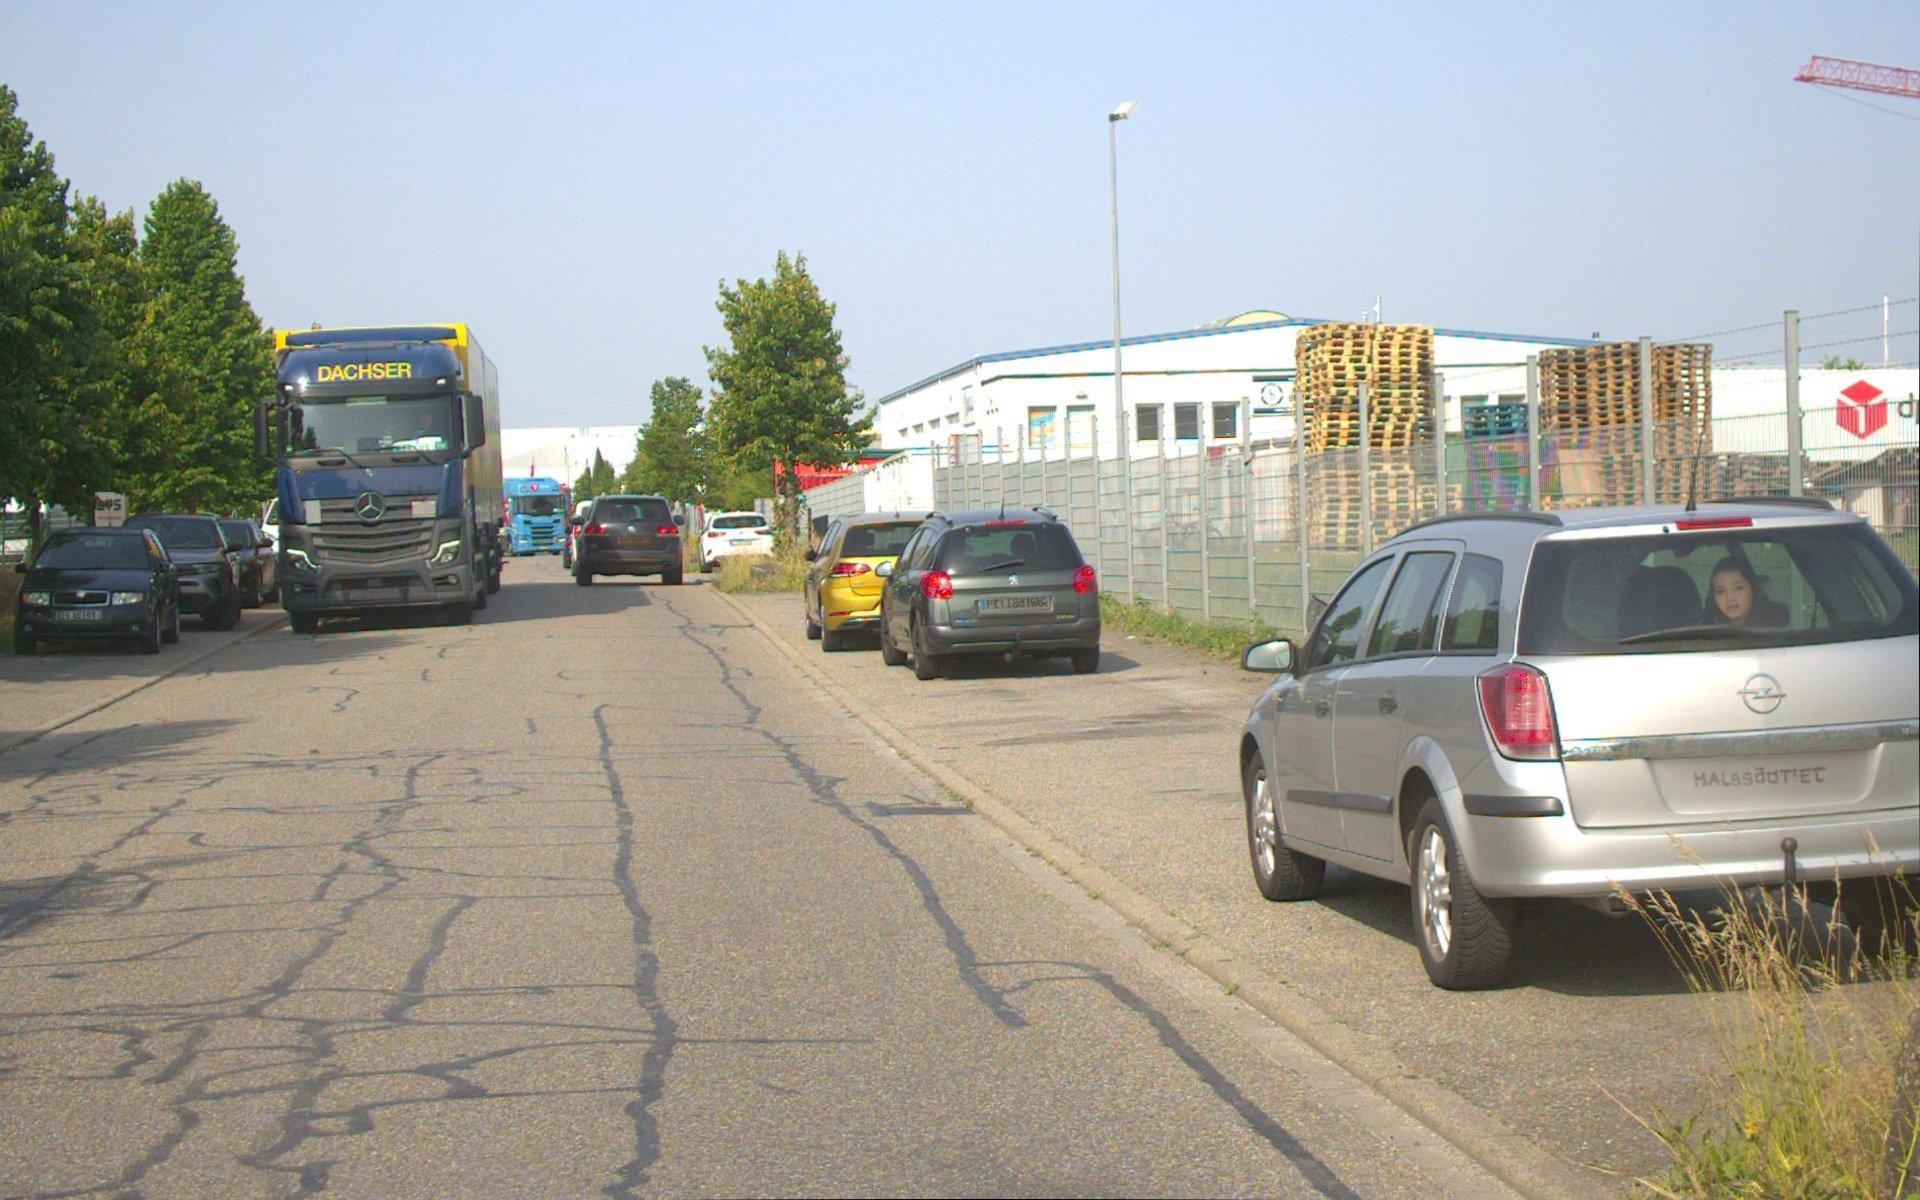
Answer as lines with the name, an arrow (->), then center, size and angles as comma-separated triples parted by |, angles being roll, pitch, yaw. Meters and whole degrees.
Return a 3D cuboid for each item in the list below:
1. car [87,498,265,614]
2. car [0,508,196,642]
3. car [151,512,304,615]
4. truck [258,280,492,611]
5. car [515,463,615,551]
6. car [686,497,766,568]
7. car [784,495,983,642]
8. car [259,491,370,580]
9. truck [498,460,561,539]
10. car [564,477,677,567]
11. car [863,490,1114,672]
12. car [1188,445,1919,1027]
car -> -10.599, -0.628, 46.745 | 1.833, 1.491, 4.050 | 0, 2, -5
car -> -10.257, -0.332, 40.792 | 1.833, 1.491, 4.050 | 0, 2, -5
car -> -11.256, -0.593, 53.023 | 1.833, 1.491, 4.050 | 0, 2, -5
truck -> -8.205, -2.148, 49.288 | 2.498, 4.131, 10.382 | -3, 2, -6
car -> -9.825, -2.313, 85.840 | 2.121, 2.103, 4.625 | -1, 1, -3
car -> -5.710, -1.663, 83.619 | 1.714, 1.674, 3.951 | -1, 2, -7
car -> -0.903, -0.394, 38.062 | 1.714, 1.450, 4.188 | -3, 2, -7
car -> -13.158, -1.347, 70.259 | 1.833, 1.756, 4.050 | 0, 2, -5
truck -> -20.870, -4.866, 166.388 | 2.878, 3.747, 6.086 | -1, 2, -8
car -> -6.294, -1.458, 64.104 | 1.880, 1.581, 4.114 | -1, 1, -3
car -> 0.199, -0.226, 32.369 | 1.714, 1.510, 4.005 | -3, 2, -8
car -> 2.135, 0.318, 12.319 | 1.798, 1.620, 4.450 | -3, 2, -6
